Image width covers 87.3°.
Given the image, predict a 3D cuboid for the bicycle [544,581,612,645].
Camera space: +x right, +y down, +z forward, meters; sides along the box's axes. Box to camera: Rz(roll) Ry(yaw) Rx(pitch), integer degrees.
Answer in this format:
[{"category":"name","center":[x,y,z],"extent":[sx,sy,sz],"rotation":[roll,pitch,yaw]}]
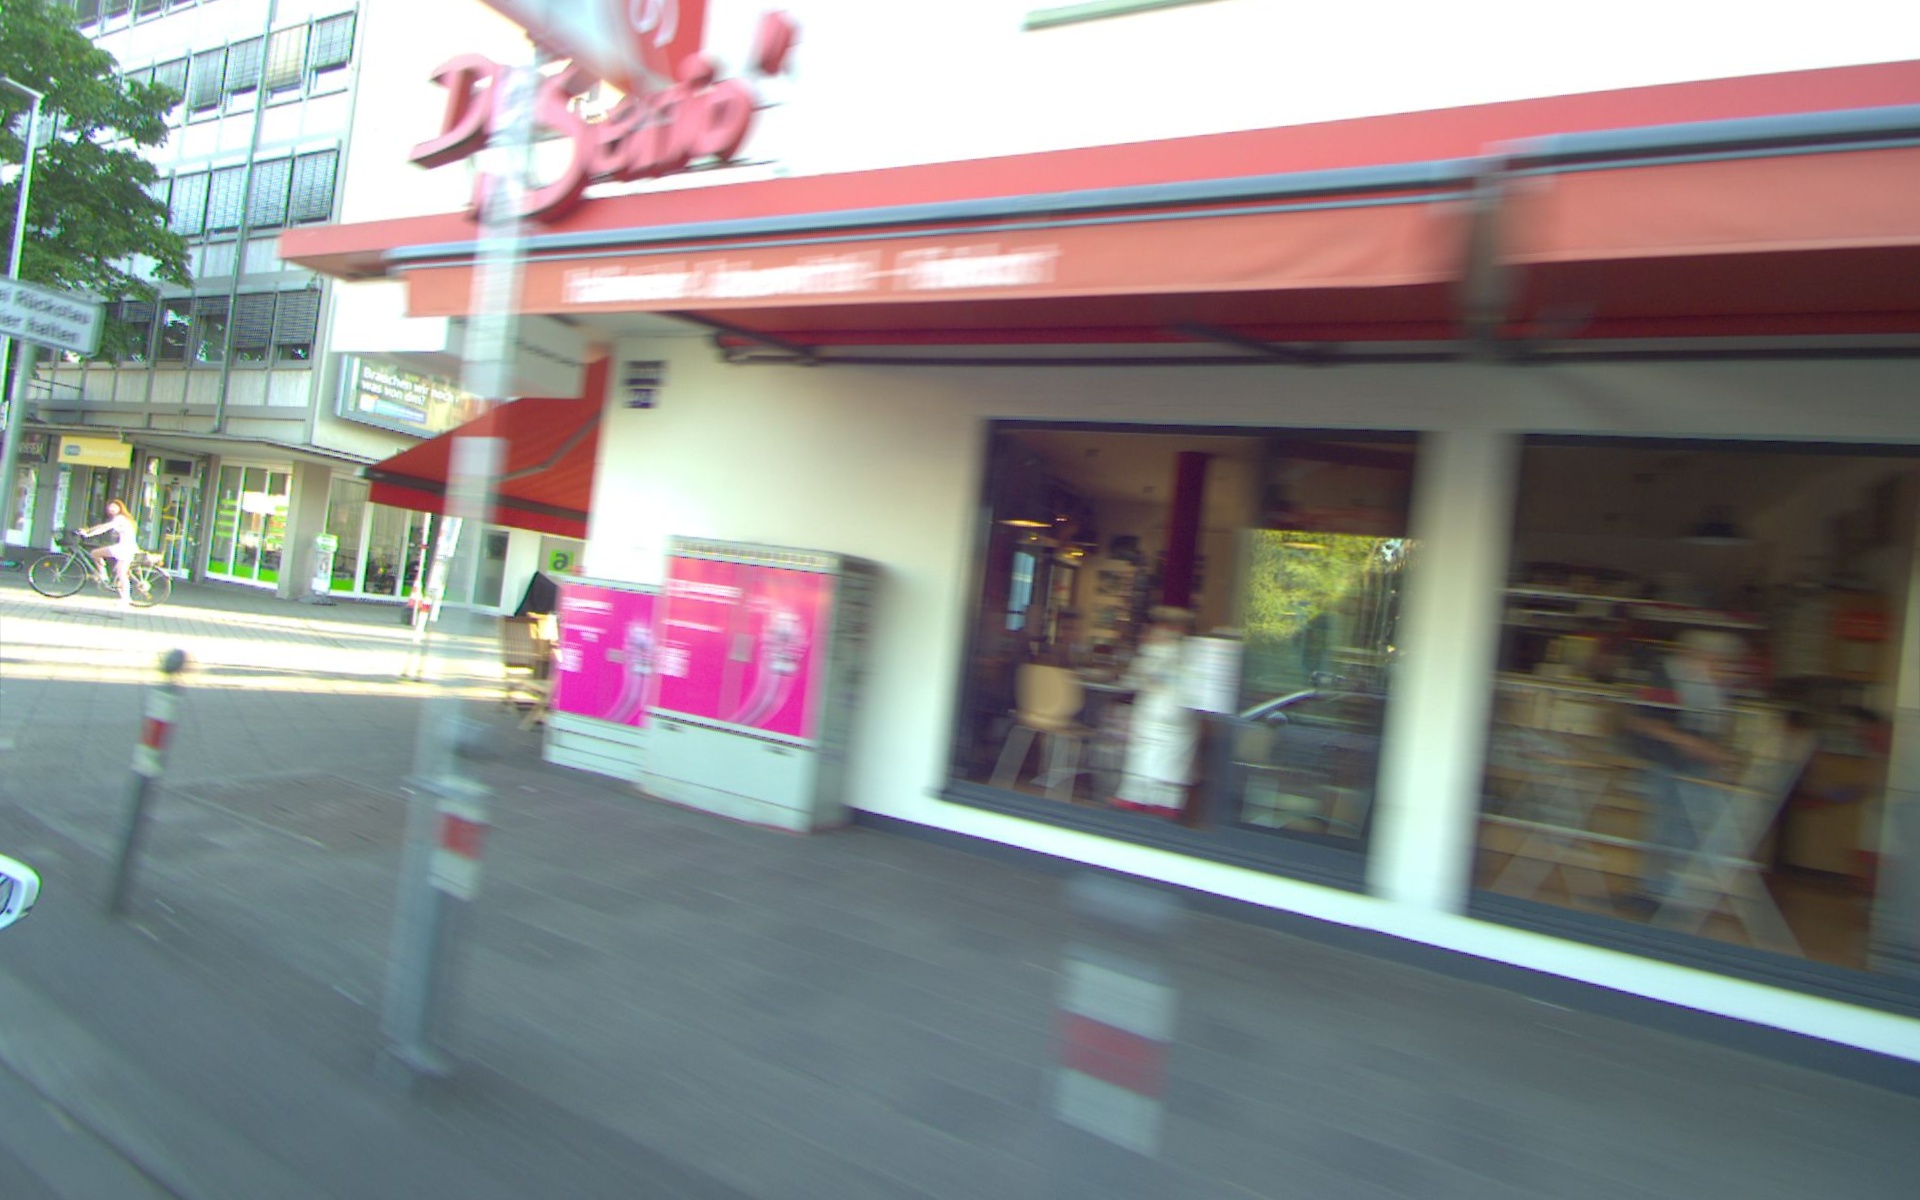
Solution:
[{"category":"bicycle","center":[-9.024,0.296,23.714],"extent":[0.699,1.235,2.088],"rotation":[8,0,-40]}]

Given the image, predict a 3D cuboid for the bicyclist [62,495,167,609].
[{"category":"bicyclist","center":[-13.566,-0.764,16.179],"extent":[1.107,1.642,0.831],"rotation":[8,-1,-40]}]

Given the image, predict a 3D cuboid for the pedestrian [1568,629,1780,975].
[{"category":"pedestrian","center":[3.952,1.088,5.598],"extent":[0.519,1.781,0.602],"rotation":[7,0,-17]}]

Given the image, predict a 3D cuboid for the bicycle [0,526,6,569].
[{"category":"bicycle","center":[-16.651,-0.840,16.595],"extent":[1.767,0.982,0.466],"rotation":[7,0,19]}]

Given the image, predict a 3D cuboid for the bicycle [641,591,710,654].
[{"category":"bicycle","center":[-7.109,0.539,25.089],"extent":[0.699,1.235,2.088],"rotation":[8,1,-40]}]

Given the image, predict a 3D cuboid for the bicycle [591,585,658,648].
[{"category":"bicycle","center":[-8.161,0.382,24.405],"extent":[0.699,1.235,2.088],"rotation":[8,0,-40]}]

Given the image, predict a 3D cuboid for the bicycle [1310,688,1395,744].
[{"category":"bicycle","center":[11.369,3.353,29.214],"extent":[0.699,1.235,2.088],"rotation":[8,0,-40]}]

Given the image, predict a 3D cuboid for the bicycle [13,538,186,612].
[{"category":"bicycle","center":[-13.702,-0.387,16.105],"extent":[1.998,0.891,0.831],"rotation":[9,-2,-40]}]

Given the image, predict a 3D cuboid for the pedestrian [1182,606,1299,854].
[{"category":"pedestrian","center":[1.702,0.765,6.114],"extent":[0.495,1.375,0.523],"rotation":[7,0,16]}]

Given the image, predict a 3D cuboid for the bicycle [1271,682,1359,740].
[{"category":"bicycle","center":[9.836,3.058,27.918],"extent":[0.699,1.235,2.088],"rotation":[8,0,-40]}]

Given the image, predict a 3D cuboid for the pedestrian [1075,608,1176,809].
[{"category":"pedestrian","center":[1.108,0.705,6.730],"extent":[0.495,1.231,0.523],"rotation":[7,0,10]}]

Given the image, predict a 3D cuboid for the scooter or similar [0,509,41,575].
[{"category":"scooter or similar","center":[-19.603,-1.226,20.402],"extent":[1.261,1.249,0.337],"rotation":[8,0,-22]}]
